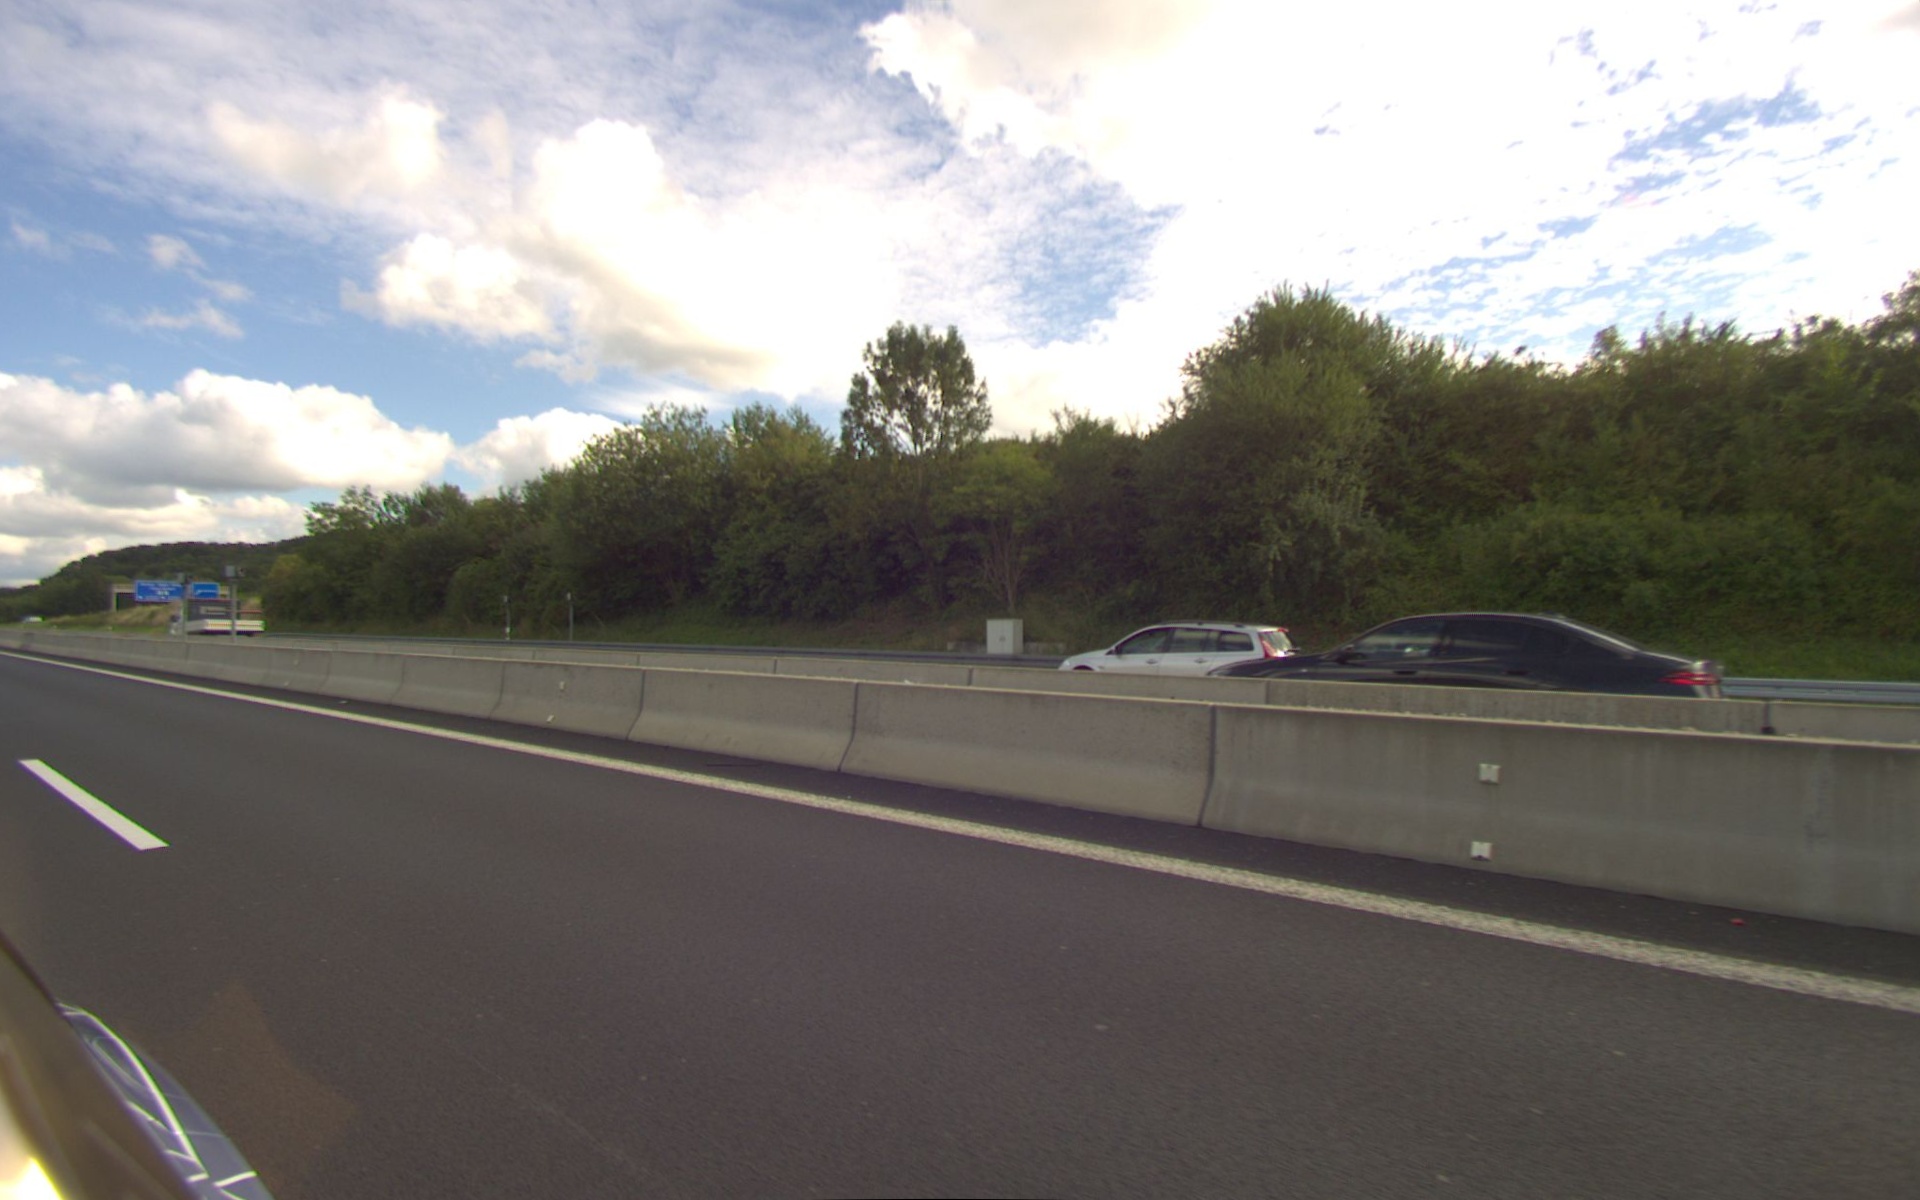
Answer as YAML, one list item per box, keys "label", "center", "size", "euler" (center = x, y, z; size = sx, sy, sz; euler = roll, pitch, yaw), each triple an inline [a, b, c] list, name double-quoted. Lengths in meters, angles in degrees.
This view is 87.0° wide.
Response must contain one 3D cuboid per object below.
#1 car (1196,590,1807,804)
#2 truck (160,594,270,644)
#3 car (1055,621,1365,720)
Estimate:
- label: "car"
  center: [5.219, 0.818, 10.314]
  size: [5.193, 1.661, 1.973]
  euler: [-1, -3, 41]
- label: "truck"
  center: [-32.842, 0.875, 44.513]
  size: [7.433, 2.029, 2.351]
  euler: [-1, -3, 41]
- label: "car"
  center: [4.103, 1.094, 17.091]
  size: [4.722, 1.447, 1.973]
  euler: [-1, -3, 41]
